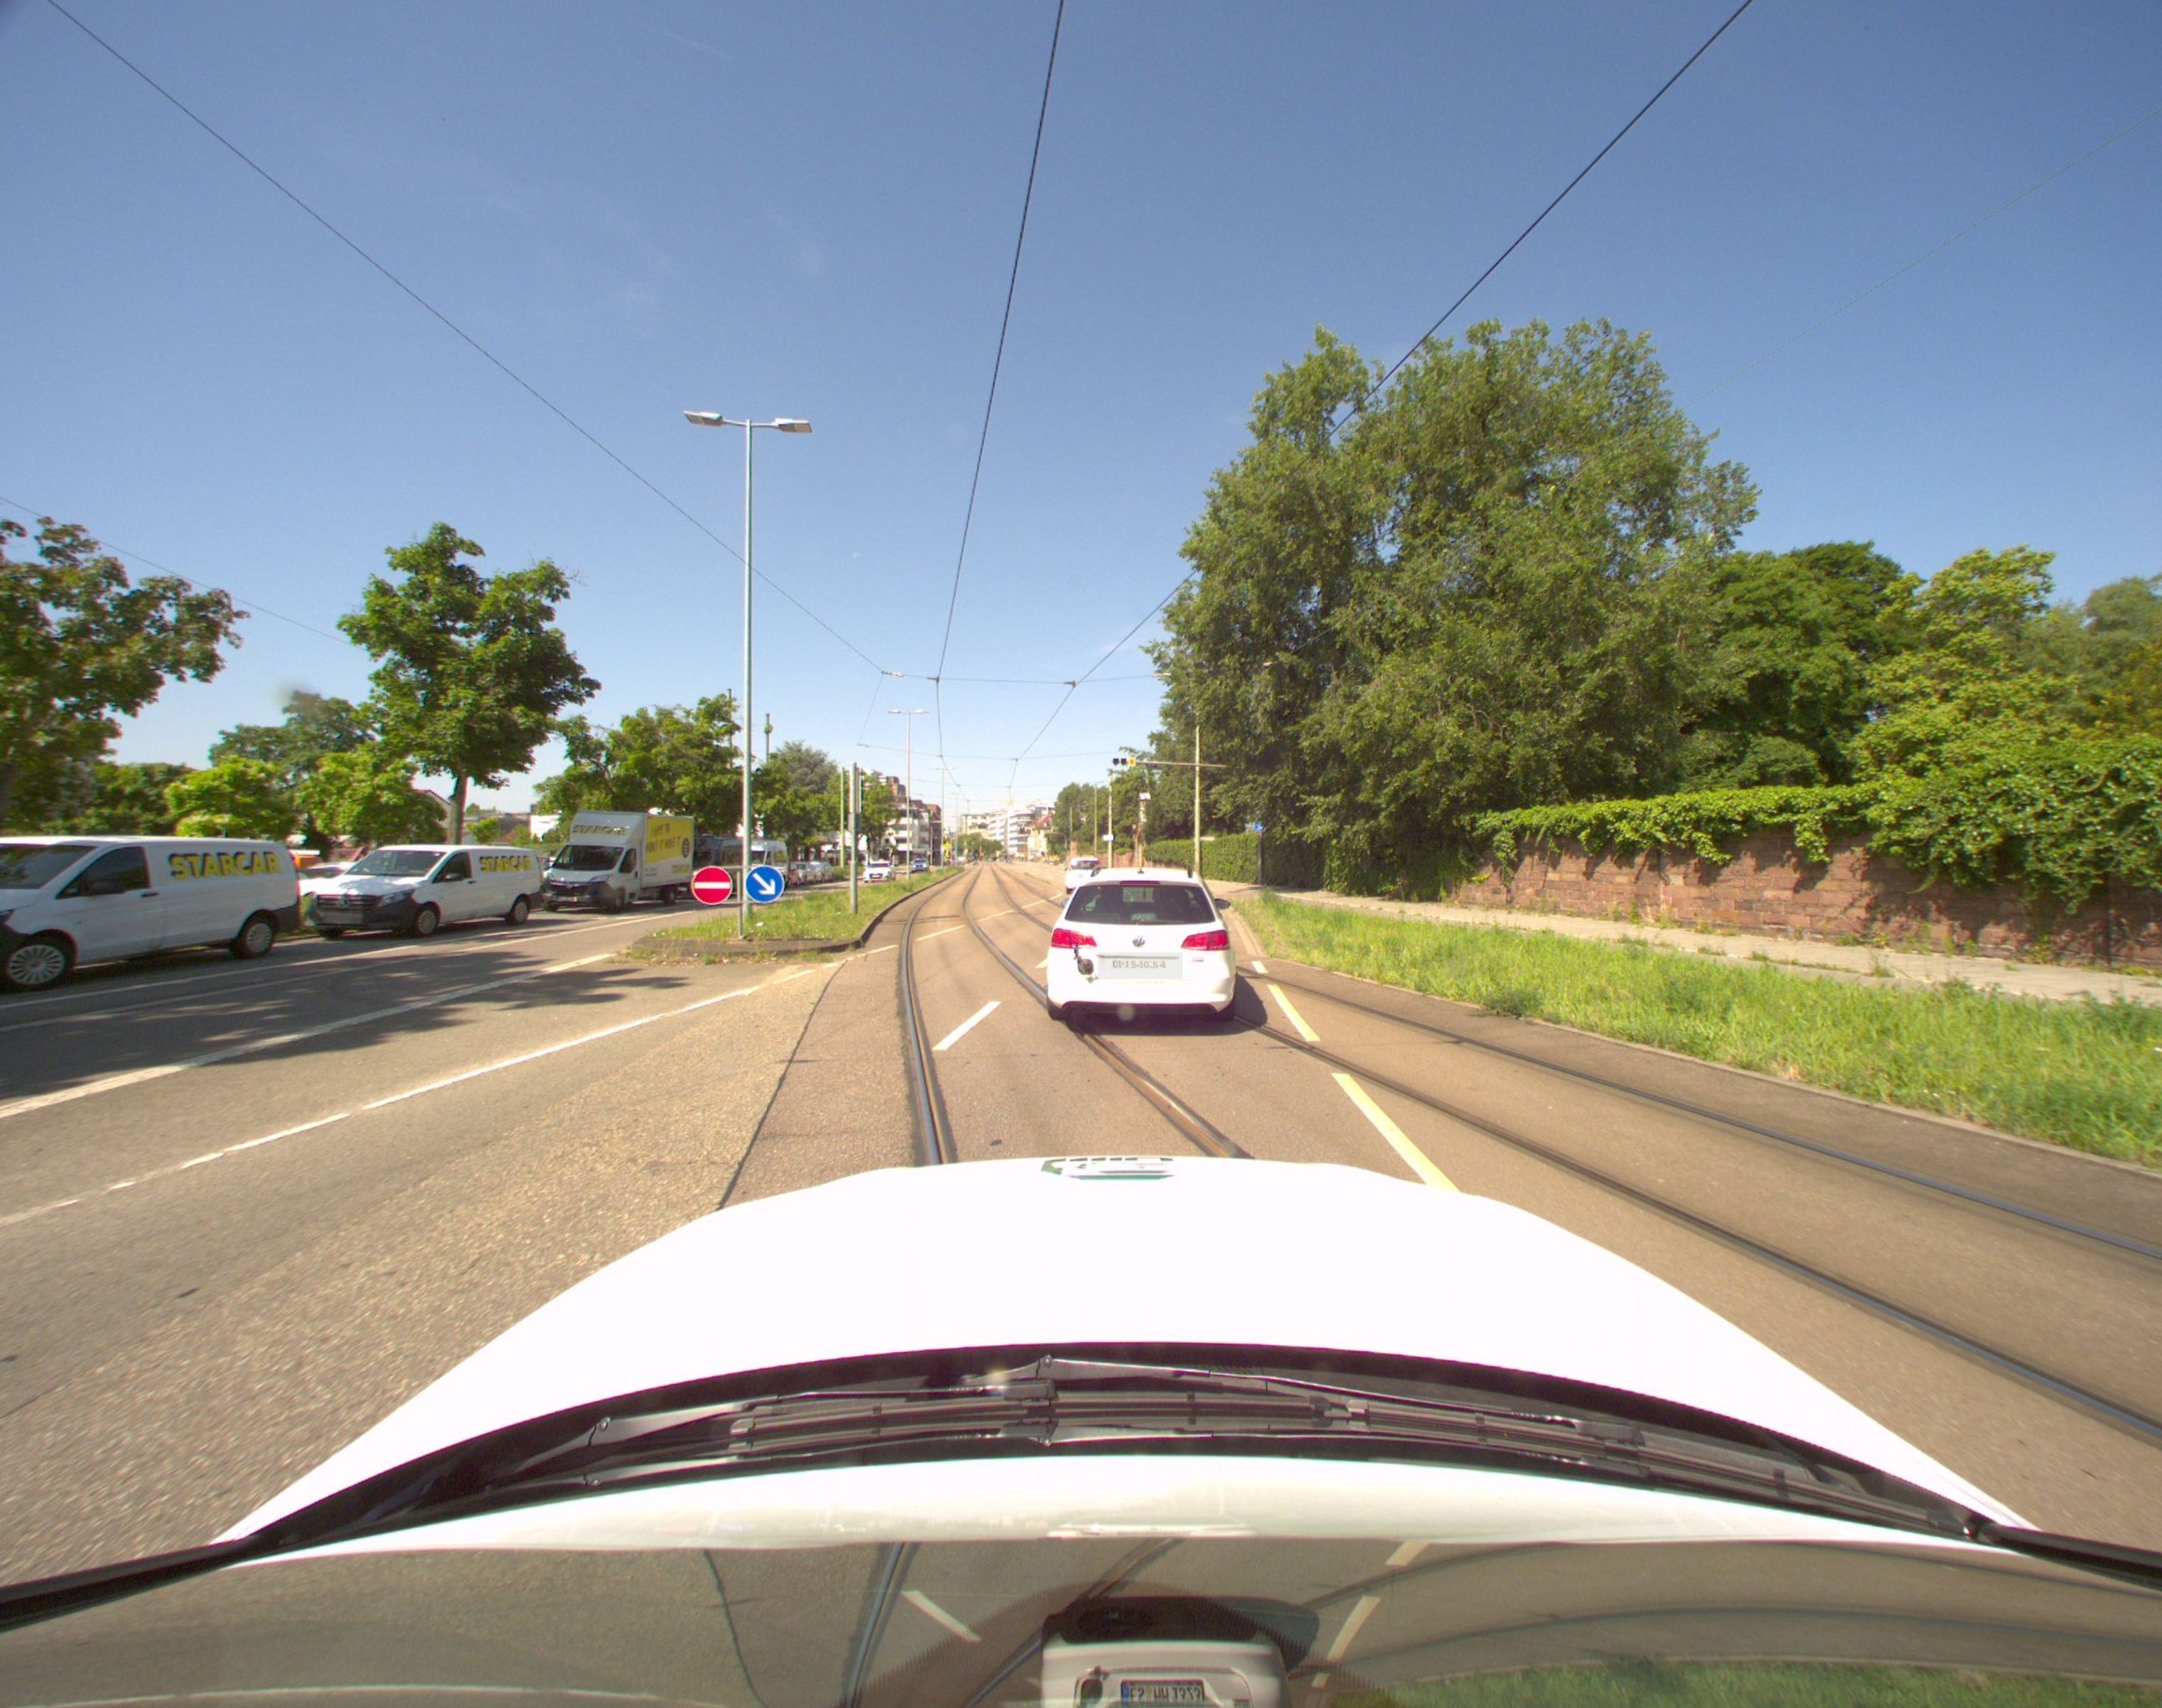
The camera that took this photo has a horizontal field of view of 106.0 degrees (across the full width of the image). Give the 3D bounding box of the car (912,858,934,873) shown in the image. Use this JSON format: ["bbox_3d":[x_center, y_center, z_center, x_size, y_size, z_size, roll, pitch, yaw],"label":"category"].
[{"bbox_3d":[-17.672,1.267,91.226,2.041,1.597,4.649,-1,0,-7],"label":"car"}]

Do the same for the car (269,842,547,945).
[{"bbox_3d":[-14.484,0.757,18.080,2.192,1.941,5.175,0,0,-5],"label":"car"}]

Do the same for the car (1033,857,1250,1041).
[{"bbox_3d":[0.607,0.794,8.632,1.771,1.490,3.850,0,0,3],"label":"car"}]

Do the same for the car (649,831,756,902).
[{"bbox_3d":[-15.822,0.502,34.482,2.193,2.668,6.066,2,0,-6],"label":"car"}]

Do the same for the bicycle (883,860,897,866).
[{"bbox_3d":[-28.507,1.360,121.403,0.546,0.921,2.191,-1,0,37],"label":"bicycle"}]

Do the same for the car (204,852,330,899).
[{"bbox_3d":[-40.096,1.040,40.194,3.987,2.200,1.904,0,0,-10],"label":"car"}]

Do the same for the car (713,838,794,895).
[{"bbox_3d":[-16.399,0.581,41.163,2.193,2.631,5.966,2,0,-6],"label":"car"}]

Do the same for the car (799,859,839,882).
[{"bbox_3d":[-18.327,1.161,57.190,1.601,1.490,4.609,2,0,-5],"label":"car"}]

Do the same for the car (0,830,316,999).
[{"bbox_3d":[-13.894,0.710,11.380,2.196,1.941,5.166,-1,0,-10],"label":"car"}]

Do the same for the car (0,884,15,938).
[{"bbox_3d":[-25.139,1.244,16.716,3.885,1.154,1.659,-1,-1,-7],"label":"car"}]

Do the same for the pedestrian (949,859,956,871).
[{"bbox_3d":[-19.410,1.684,122.944,0.827,1.739,0.927,-1,-1,-14],"label":"pedestrian"}]

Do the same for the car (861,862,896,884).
[{"bbox_3d":[-13.925,1.293,56.226,1.789,1.422,4.326,0,0,-6],"label":"car"}]

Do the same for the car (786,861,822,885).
[{"bbox_3d":[-17.650,1.175,52.011,1.290,1.490,4.341,0,0,-6],"label":"car"}]

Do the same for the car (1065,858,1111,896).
[{"bbox_3d":[0.385,0.986,36.597,1.722,1.596,4.017,-1,0,5],"label":"car"}]

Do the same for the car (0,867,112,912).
[{"bbox_3d":[-38.432,1.267,29.514,3.987,1.544,1.779,-1,0,-10],"label":"car"}]

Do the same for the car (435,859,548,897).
[{"bbox_3d":[-27.850,1.109,38.600,3.985,1.694,1.658,-1,-1,-9],"label":"car"}]

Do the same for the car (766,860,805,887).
[{"bbox_3d":[-17.190,1.101,47.497,1.290,1.490,3.669,2,0,-6],"label":"car"}]

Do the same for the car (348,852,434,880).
[{"bbox_3d":[-56.168,1.001,66.405,4.928,2.174,2.093,-1,-1,-10],"label":"car"}]

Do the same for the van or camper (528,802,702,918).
[{"bbox_3d":[-14.875,0.193,26.630,2.192,3.241,6.759,2,0,-5],"label":"van or camper"}]

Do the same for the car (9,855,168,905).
[{"bbox_3d":[-42.402,1.082,34.887,3.987,2.003,1.904,0,0,-10],"label":"car"}]

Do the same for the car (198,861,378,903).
[{"bbox_3d":[-25.911,0.887,26.732,3.983,1.271,1.659,-1,-1,-7],"label":"car"}]
